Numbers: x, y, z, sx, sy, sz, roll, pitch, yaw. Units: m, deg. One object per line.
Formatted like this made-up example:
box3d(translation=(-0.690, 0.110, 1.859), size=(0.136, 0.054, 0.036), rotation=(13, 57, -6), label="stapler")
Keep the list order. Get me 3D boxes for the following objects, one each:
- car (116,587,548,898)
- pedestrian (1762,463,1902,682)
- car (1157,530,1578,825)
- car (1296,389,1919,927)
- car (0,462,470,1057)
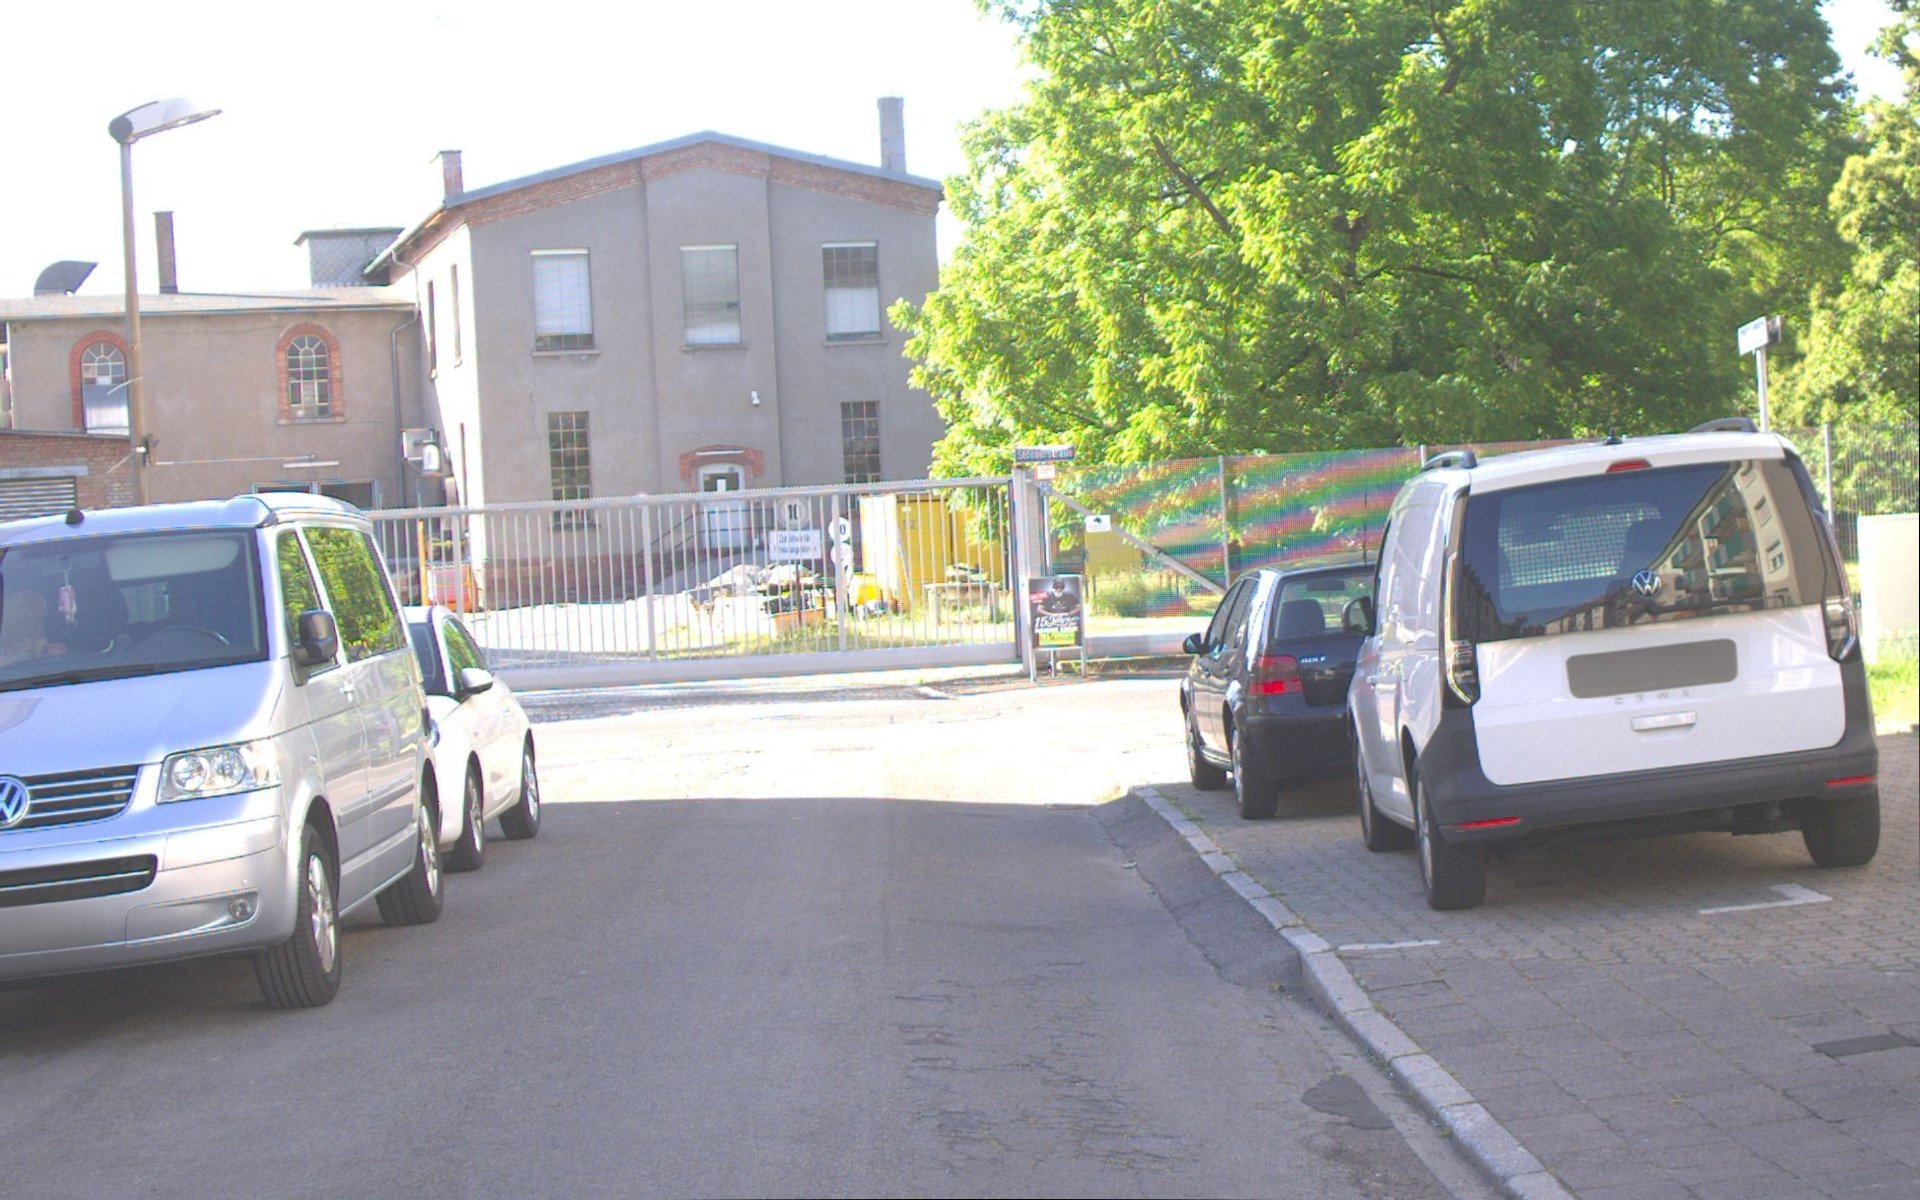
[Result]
box3d(translation=(-3.495, 0.735, 19.765), size=(1.687, 1.454, 3.721), rotation=(-5, 1, 0), label="car")
box3d(translation=(7.251, -0.232, 28.593), size=(0.838, 1.765, 0.647), rotation=(-3, 1, -29), label="pedestrian")
box3d(translation=(2.302, 0.393, 20.447), size=(1.797, 1.410, 4.049), rotation=(-6, 1, -1), label="car")
box3d(translation=(2.660, 0.187, 15.088), size=(1.798, 1.839, 4.539), rotation=(-6, 1, 1), label="car")
box3d(translation=(-3.333, 0.548, 13.996), size=(1.950, 1.927, 4.857), rotation=(-5, 1, -1), label="car")
